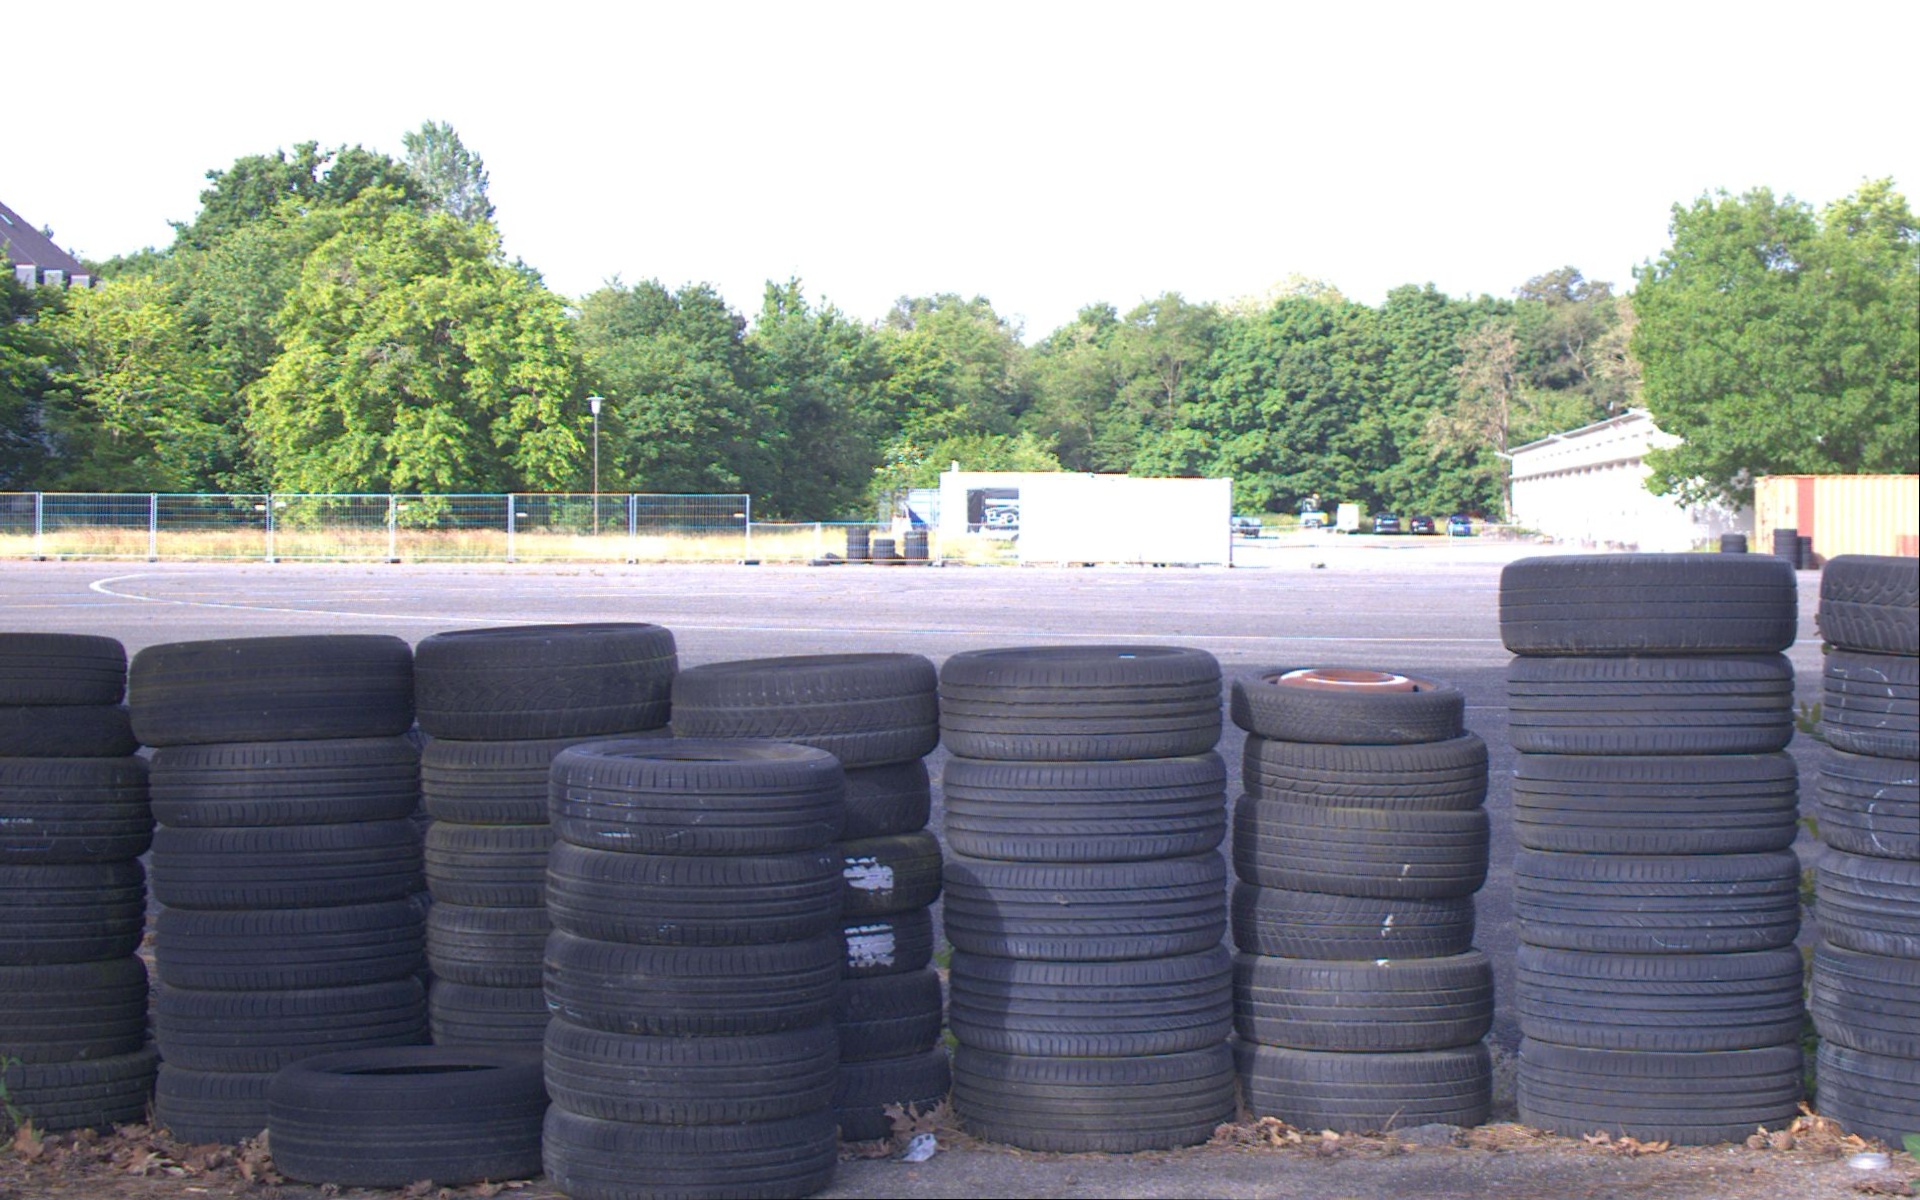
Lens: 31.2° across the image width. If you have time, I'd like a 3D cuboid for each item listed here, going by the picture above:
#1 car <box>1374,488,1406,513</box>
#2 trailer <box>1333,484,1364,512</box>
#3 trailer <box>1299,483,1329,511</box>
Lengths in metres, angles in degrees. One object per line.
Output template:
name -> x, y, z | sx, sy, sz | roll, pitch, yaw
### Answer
car -> 30.591, -7.112, 244.686 | 1.994, 1.744, 4.000 | 0, 2, 3
trailer -> 27.881, -7.312, 246.583 | 2.058, 2.006, 4.000 | 0, 2, 4
trailer -> 25.545, -7.415, 248.144 | 1.994, 2.006, 4.000 | 0, 2, 4
